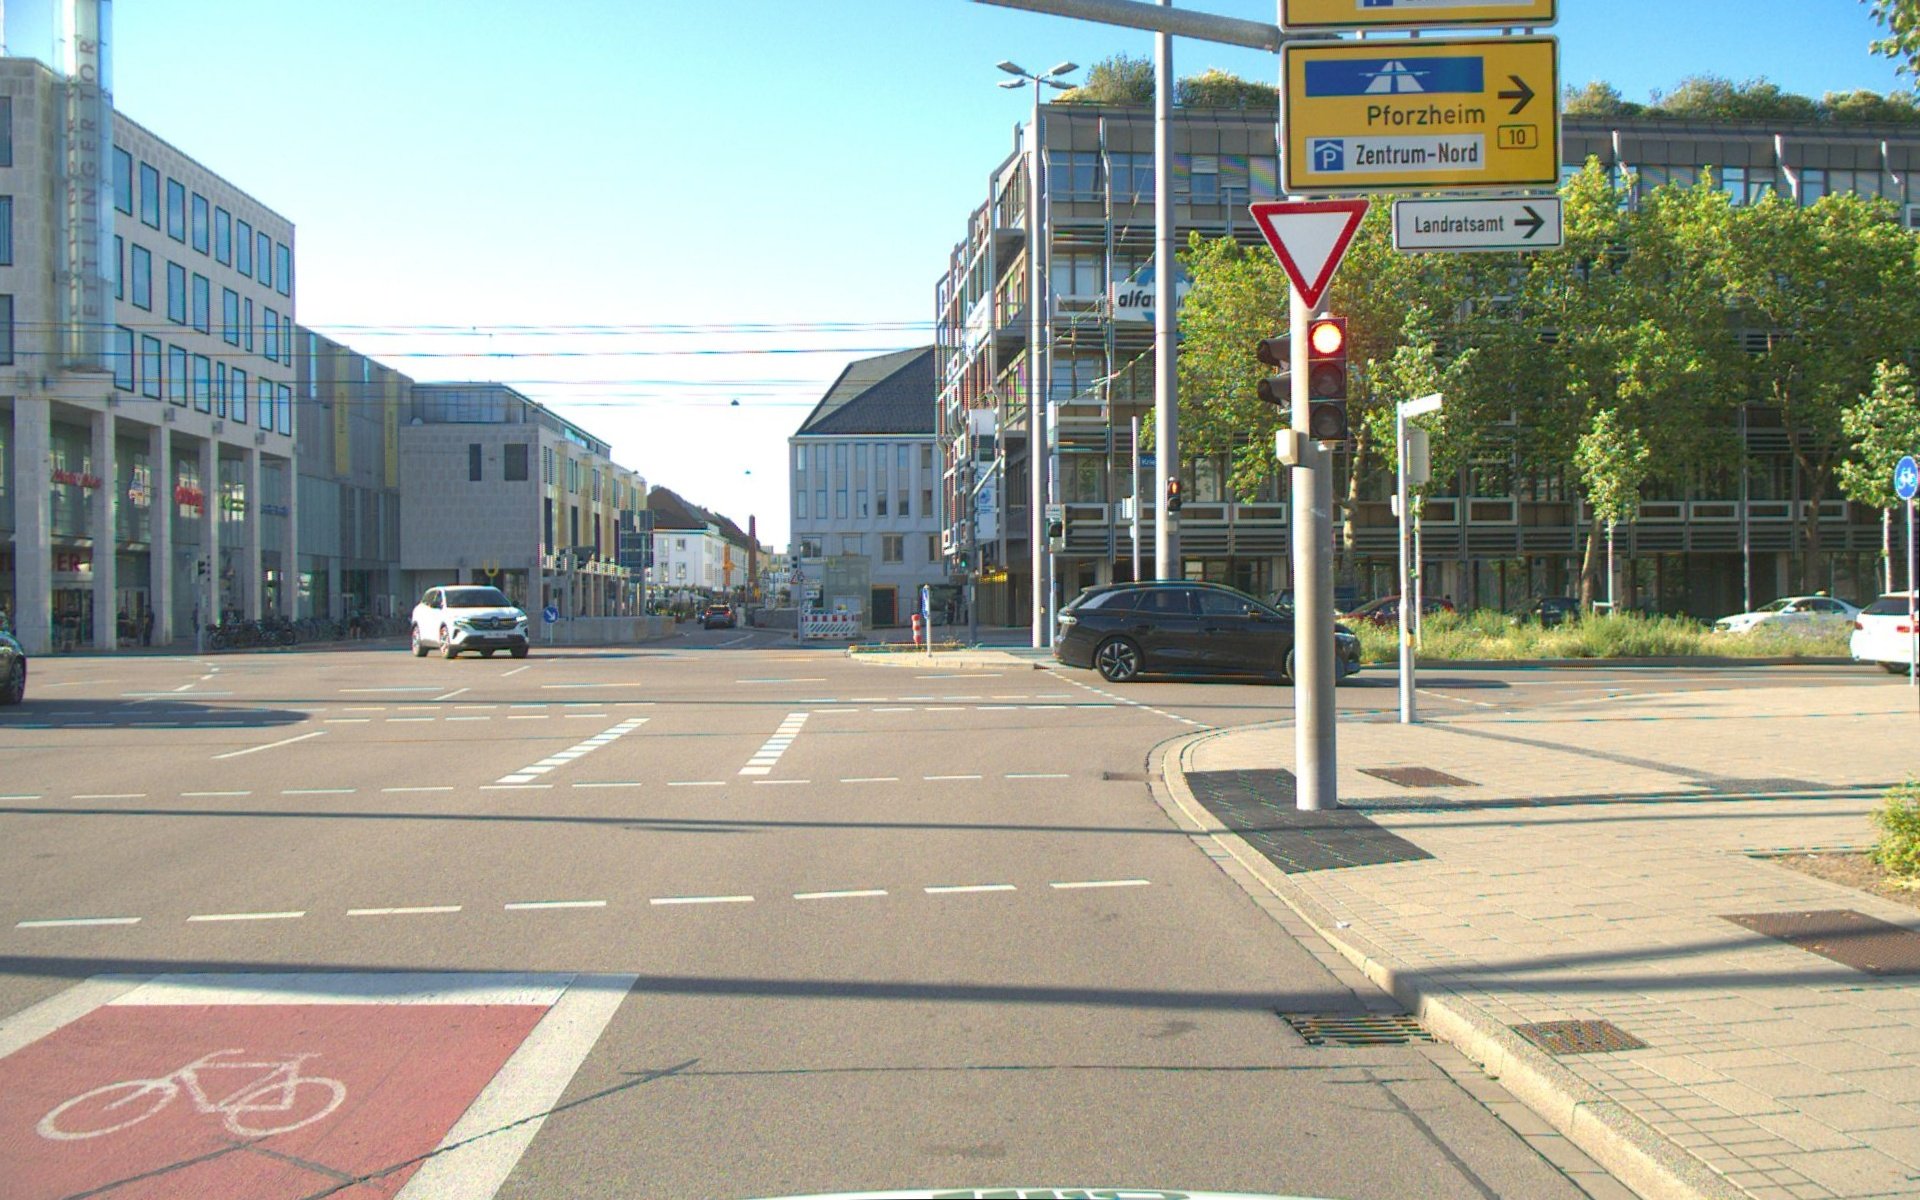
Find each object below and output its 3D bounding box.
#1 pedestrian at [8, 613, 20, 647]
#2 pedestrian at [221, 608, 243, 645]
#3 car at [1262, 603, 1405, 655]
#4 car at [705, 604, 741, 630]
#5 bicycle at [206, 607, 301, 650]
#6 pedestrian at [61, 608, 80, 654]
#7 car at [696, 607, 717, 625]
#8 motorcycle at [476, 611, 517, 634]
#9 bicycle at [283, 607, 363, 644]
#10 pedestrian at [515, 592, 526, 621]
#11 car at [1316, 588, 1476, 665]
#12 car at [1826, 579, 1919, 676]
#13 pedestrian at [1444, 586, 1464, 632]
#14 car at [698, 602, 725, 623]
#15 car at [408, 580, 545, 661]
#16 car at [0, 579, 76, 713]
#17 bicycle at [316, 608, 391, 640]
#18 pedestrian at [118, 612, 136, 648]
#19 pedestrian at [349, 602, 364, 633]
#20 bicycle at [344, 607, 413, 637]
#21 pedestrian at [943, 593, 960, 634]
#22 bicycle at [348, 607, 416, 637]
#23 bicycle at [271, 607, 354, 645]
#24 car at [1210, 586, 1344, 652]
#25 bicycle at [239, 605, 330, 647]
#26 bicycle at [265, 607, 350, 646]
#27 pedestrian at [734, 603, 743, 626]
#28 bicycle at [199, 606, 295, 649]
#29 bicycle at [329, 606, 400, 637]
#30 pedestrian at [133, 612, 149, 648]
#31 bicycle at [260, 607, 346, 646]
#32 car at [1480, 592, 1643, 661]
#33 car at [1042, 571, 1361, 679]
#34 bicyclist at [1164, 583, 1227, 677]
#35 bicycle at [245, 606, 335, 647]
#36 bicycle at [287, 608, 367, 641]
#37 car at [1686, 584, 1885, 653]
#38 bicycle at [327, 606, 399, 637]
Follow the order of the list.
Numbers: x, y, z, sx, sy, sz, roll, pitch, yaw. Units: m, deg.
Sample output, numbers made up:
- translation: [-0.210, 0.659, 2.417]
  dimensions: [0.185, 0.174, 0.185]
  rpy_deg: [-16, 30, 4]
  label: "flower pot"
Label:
- translation: [-39.830, 1.260, 69.640]
  dimensions: [0.383, 1.451, 0.497]
  rpy_deg: [-1, 0, -33]
  label: "pedestrian"
- translation: [-33.164, 1.194, 75.324]
  dimensions: [0.770, 1.671, 0.693]
  rpy_deg: [-1, 0, -10]
  label: "pedestrian"
- translation: [11.442, 0.870, 50.813]
  dimensions: [3.908, 1.534, 1.867]
  rpy_deg: [1, 0, -4]
  label: "car"
- translation: [-15.496, 1.109, 108.160]
  dimensions: [2.157, 1.635, 4.320]
  rpy_deg: [-1, 0, -6]
  label: "car"
- translation: [-29.554, 1.163, 69.240]
  dimensions: [3.427, 1.726, 1.114]
  rpy_deg: [-1, 0, -10]
  label: "bicycle"
- translation: [-32.598, 1.125, 60.611]
  dimensions: [0.533, 1.671, 0.547]
  rpy_deg: [-1, 0, -22]
  label: "pedestrian"
- translation: [-25.699, 1.605, 167.910]
  dimensions: [1.722, 1.814, 3.997]
  rpy_deg: [-1, 0, -4]
  label: "car"
- translation: [-27.609, 1.332, 98.617]
  dimensions: [2.230, 1.341, 0.719]
  rpy_deg: [-1, 0, -6]
  label: "motorcycle"
- translation: [-30.335, 1.200, 78.863]
  dimensions: [3.430, 1.726, 0.984]
  rpy_deg: [-1, 0, -12]
  label: "bicycle"
- translation: [-31.457, 0.492, 118.395]
  dimensions: [0.613, 2.049, 0.734]
  rpy_deg: [-1, 0, 1]
  label: "pedestrian"
- translation: [12.234, 0.739, 46.576]
  dimensions: [3.908, 2.049, 1.999]
  rpy_deg: [1, 0, -3]
  label: "car"
- translation: [17.310, 0.413, 27.796]
  dimensions: [4.599, 1.554, 1.996]
  rpy_deg: [-1, 0, -8]
  label: "car"
- translation: [18.314, 0.322, 61.313]
  dimensions: [0.529, 1.698, 0.536]
  rpy_deg: [-1, 0, -3]
  label: "pedestrian"
- translation: [-21.159, 1.079, 141.128]
  dimensions: [1.954, 1.689, 4.402]
  rpy_deg: [-1, 0, -5]
  label: "car"
- translation: [-11.059, 0.416, 37.659]
  dimensions: [1.974, 1.689, 4.360]
  rpy_deg: [-1, 1, -31]
  label: "car"
- translation: [-12.741, 0.555, 20.157]
  dimensions: [1.956, 1.635, 4.474]
  rpy_deg: [1, 0, -7]
  label: "car"
- translation: [-30.883, 1.225, 84.262]
  dimensions: [3.430, 1.554, 0.984]
  rpy_deg: [-1, 0, -12]
  label: "bicycle"
- translation: [-35.042, 1.259, 69.593]
  dimensions: [0.501, 1.537, 0.513]
  rpy_deg: [-1, 0, -5]
  label: "pedestrian"
- translation: [-33.663, 0.972, 92.258]
  dimensions: [0.641, 1.671, 0.693]
  rpy_deg: [-1, 0, -9]
  label: "pedestrian"
- translation: [-31.782, 1.181, 90.396]
  dimensions: [3.430, 1.554, 0.984]
  rpy_deg: [-1, 0, -12]
  label: "bicycle"
- translation: [-0.354, 0.575, 69.332]
  dimensions: [0.650, 1.687, 0.755]
  rpy_deg: [-1, 0, -4]
  label: "pedestrian"
- translation: [-31.946, 1.211, 91.421]
  dimensions: [3.430, 1.554, 0.984]
  rpy_deg: [-1, 0, -12]
  label: "bicycle"
- translation: [-30.037, 1.191, 76.778]
  dimensions: [3.430, 1.726, 0.984]
  rpy_deg: [-1, 0, -12]
  label: "bicycle"
- translation: [10.307, 0.605, 53.917]
  dimensions: [3.908, 2.049, 1.999]
  rpy_deg: [1, 0, -3]
  label: "car"
- translation: [-28.866, 1.099, 70.709]
  dimensions: [3.427, 1.726, 1.114]
  rpy_deg: [-1, 0, -10]
  label: "bicycle"
- translation: [-29.796, 1.190, 75.578]
  dimensions: [3.430, 1.726, 0.984]
  rpy_deg: [-1, 0, -12]
  label: "bicycle"
- translation: [-14.497, 0.947, 108.305]
  dimensions: [0.598, 1.436, 0.569]
  rpy_deg: [-1, 0, -7]
  label: "pedestrian"
- translation: [-29.320, 1.125, 68.029]
  dimensions: [3.427, 1.726, 1.114]
  rpy_deg: [-1, 0, -10]
  label: "bicycle"
- translation: [-31.387, 1.121, 87.241]
  dimensions: [3.430, 1.554, 0.984]
  rpy_deg: [-1, 0, -12]
  label: "bicycle"
- translation: [-34.755, 1.273, 70.190]
  dimensions: [0.472, 1.537, 0.513]
  rpy_deg: [-1, 0, -5]
  label: "pedestrian"
- translation: [-29.572, 1.181, 74.490]
  dimensions: [3.430, 1.726, 0.984]
  rpy_deg: [-1, 0, -12]
  label: "bicycle"
- translation: [18.830, 0.827, 51.877]
  dimensions: [4.359, 2.049, 1.998]
  rpy_deg: [1, 0, -6]
  label: "car"
- translation: [3.796, 0.401, 26.354]
  dimensions: [4.832, 1.630, 2.001]
  rpy_deg: [0, -1, 7]
  label: "car"
- translation: [6.721, 0.839, 47.221]
  dimensions: [1.539, 2.625, 0.930]
  rpy_deg: [-1, 0, -10]
  label: "bicyclist"
- translation: [-29.096, 1.135, 71.921]
  dimensions: [3.427, 1.726, 1.114]
  rpy_deg: [-1, 0, -10]
  label: "bicycle"
- translation: [-30.540, 1.184, 79.853]
  dimensions: [3.430, 1.554, 0.984]
  rpy_deg: [-1, 0, -12]
  label: "bicycle"
- translation: [26.174, 0.584, 52.574]
  dimensions: [5.332, 2.049, 2.096]
  rpy_deg: [1, 0, -3]
  label: "car"
- translation: [-31.071, 1.133, 86.124]
  dimensions: [3.430, 1.554, 0.984]
  rpy_deg: [-1, 0, -12]
  label: "bicycle"
